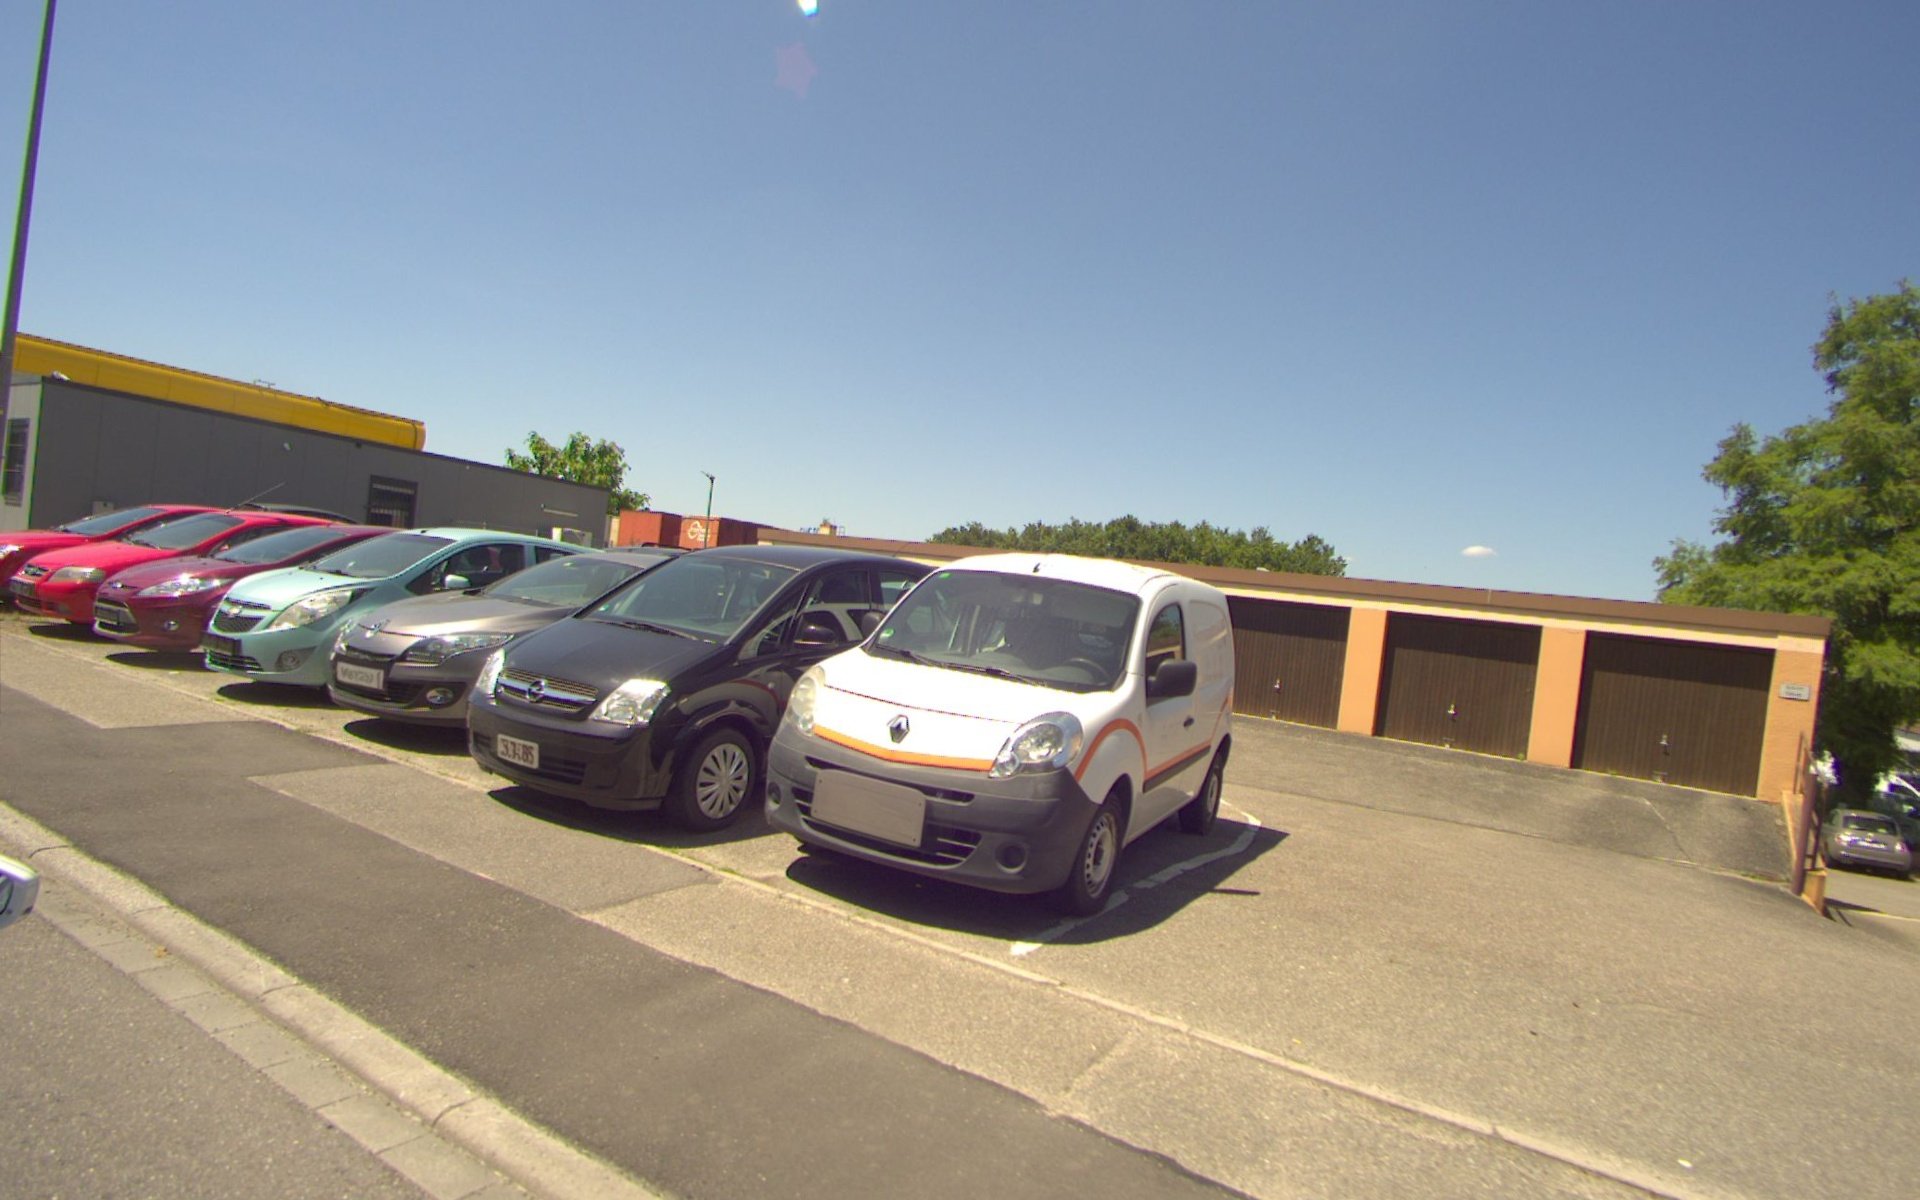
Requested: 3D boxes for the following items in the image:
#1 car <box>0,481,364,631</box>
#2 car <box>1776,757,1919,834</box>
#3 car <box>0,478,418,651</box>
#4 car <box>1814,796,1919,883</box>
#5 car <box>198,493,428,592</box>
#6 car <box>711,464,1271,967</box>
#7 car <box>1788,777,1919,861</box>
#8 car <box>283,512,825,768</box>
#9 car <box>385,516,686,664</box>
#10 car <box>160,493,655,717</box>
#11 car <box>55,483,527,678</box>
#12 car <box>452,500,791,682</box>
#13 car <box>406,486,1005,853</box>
[{"bbox_3d":[-10.628,-0.544,13.308,1.925,1.554,4.229,7,1,31],"label":"car"},{"bbox_3d":[33.589,7.310,37.706,4.311,2.036,1.997,6,-3,35],"label":"car"},{"bbox_3d":[-8.702,-0.320,11.824,1.679,1.586,3.690,7,1,28],"label":"car"},{"bbox_3d":[23.913,6.241,26.614,1.624,1.616,4.196,7,-3,37],"label":"car"},{"bbox_3d":[-14.994,-1.285,23.506,1.916,1.677,3.990,7,-1,34],"label":"car"},{"bbox_3d":[0.598,0.556,6.326,1.776,1.962,4.144,7,0,26],"label":"car"},{"bbox_3d":[30.019,7.211,32.775,4.311,2.036,1.997,6,-3,35],"label":"car"},{"bbox_3d":[-3.117,0.331,8.464,1.803,1.528,3.795,7,1,32],"label":"car"},{"bbox_3d":[-6.649,-0.073,16.207,1.753,1.685,4.051,7,-4,31],"label":"car"},{"bbox_3d":[-4.915,0.100,9.479,1.614,1.586,3.689,7,1,29],"label":"car"},{"bbox_3d":[-6.784,-0.115,10.629,1.719,1.586,3.691,7,1,28],"label":"car"},{"bbox_3d":[-4.703,-0.005,14.728,1.938,1.916,4.355,7,-3,29],"label":"car"},{"bbox_3d":[-1.395,0.397,7.003,1.733,1.702,3.881,7,1,29],"label":"car"}]
